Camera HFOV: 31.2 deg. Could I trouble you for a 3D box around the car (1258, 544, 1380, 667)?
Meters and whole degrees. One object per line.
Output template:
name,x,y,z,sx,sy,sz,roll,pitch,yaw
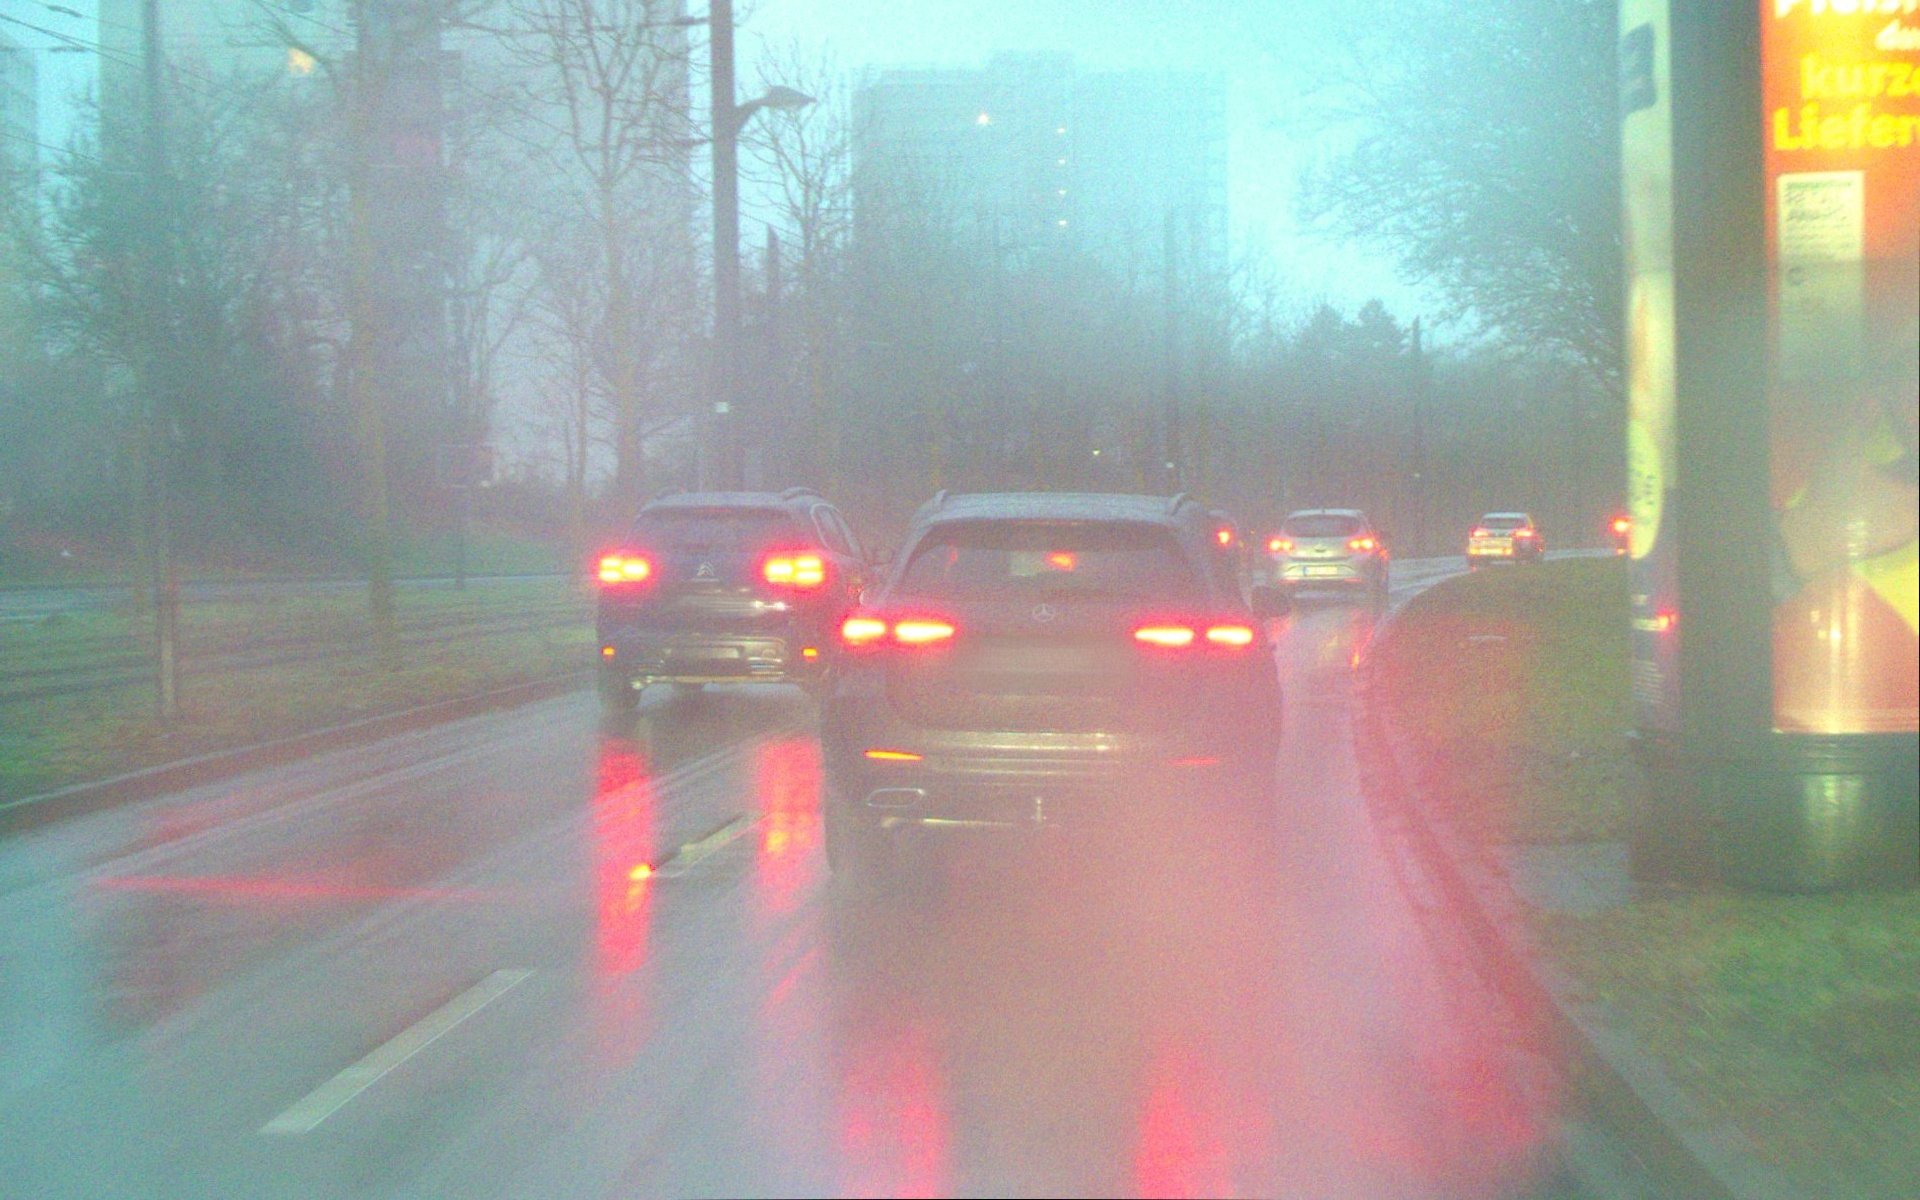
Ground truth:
car,5.739,0.075,55.260,1.857,1.885,3.999,1,0,5

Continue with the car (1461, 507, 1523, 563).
car,14.951,-1.809,96.735,1.535,1.508,3.342,1,0,6

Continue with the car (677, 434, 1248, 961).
car,0.169,0.359,15.046,1.994,1.969,4.067,1,0,7

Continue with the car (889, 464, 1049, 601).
car,0.166,-0.909,45.671,1.827,1.733,3.805,1,2,5

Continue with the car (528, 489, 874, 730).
car,-1.921,0.063,26.857,1.994,1.706,4.324,1,0,5

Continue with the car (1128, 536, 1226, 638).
car,4.188,-0.253,66.064,1.772,1.885,3.642,1,0,5
